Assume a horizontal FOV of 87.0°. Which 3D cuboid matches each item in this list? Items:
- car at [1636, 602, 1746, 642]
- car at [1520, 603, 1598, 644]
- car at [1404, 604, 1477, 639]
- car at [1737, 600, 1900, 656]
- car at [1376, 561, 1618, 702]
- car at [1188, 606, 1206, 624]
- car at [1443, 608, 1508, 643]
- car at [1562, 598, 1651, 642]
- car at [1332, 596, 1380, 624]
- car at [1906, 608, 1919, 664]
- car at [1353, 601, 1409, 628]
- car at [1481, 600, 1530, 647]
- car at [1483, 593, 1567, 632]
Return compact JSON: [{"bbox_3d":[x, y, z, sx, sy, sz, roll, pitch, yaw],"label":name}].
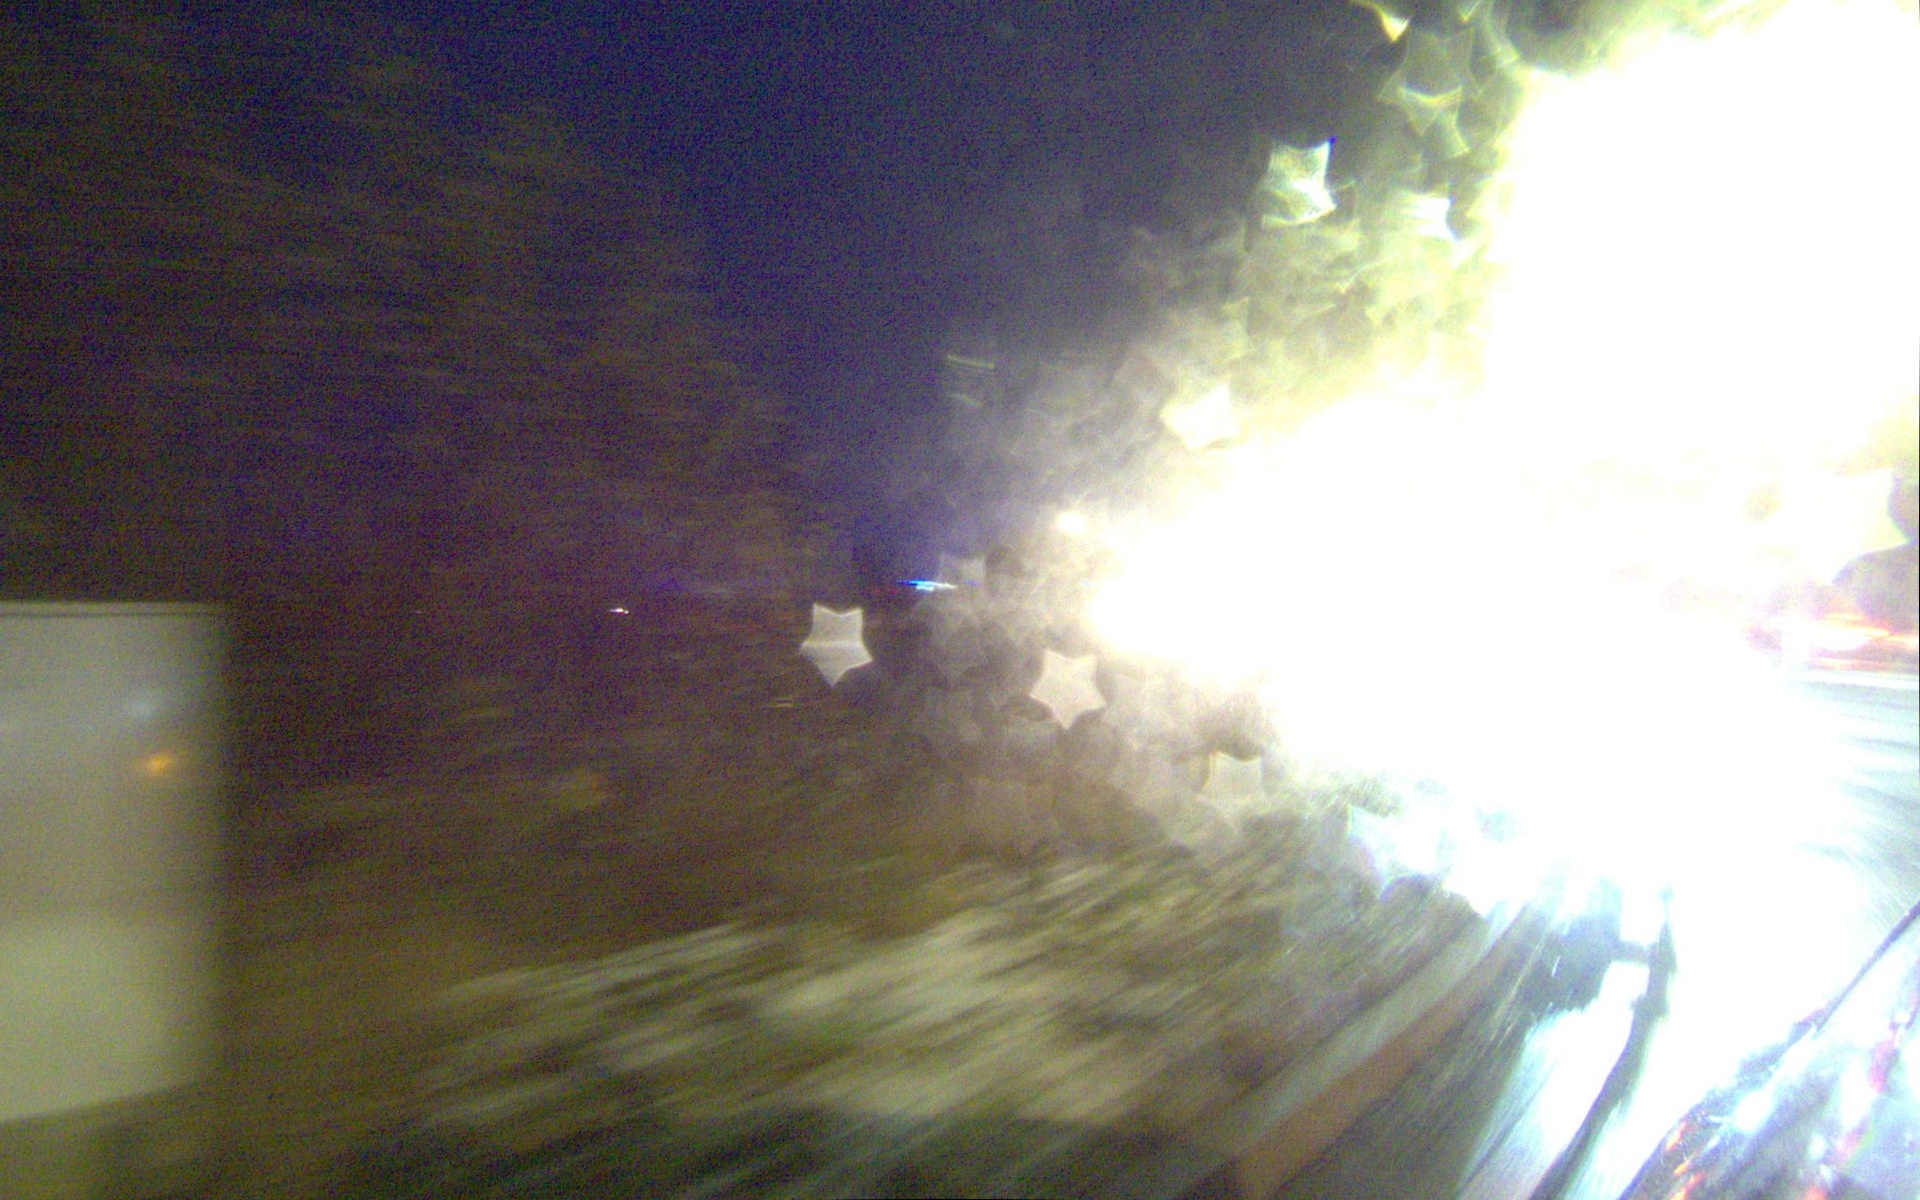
[{"bbox_3d":[29.154,0.849,40.514,1.734,1.394,4.035,1,1,5],"label":"car"},{"bbox_3d":[31.483,1.264,53.340,1.772,1.823,4.240,1,-5,5],"label":"car"},{"bbox_3d":[23.665,1.026,49.980,1.786,1.598,4.300,1,0,4],"label":"car"},{"bbox_3d":[28.735,0.880,34.109,1.825,1.558,4.527,3,1,5],"label":"car"},{"bbox_3d":[8.569,0.499,16.667,1.970,1.950,4.360,-2,-1,7],"label":"car"},{"bbox_3d":[26.711,1.726,114.292,1.640,1.877,4.137,0,1,8],"label":"car"},{"bbox_3d":[27.808,1.347,54.725,1.772,1.686,3.971,1,1,5],"label":"car"},{"bbox_3d":[29.914,0.883,46.986,1.734,1.871,4.119,1,1,5],"label":"car"},{"bbox_3d":[24.857,0.625,63.644,1.734,1.747,3.895,0,-1,5],"label":"car"},{"bbox_3d":[28.208,1.023,27.458,1.472,1.622,4.138,0,-1,6],"label":"car"},{"bbox_3d":[23.984,0.818,57.757,1.752,1.503,4.403,0,-1,6],"label":"car"},{"bbox_3d":[34.528,1.425,63.995,2.240,2.744,5.543,1,1,33],"label":"car"},{"bbox_3d":[26.597,0.554,47.842,1.772,1.686,4.482,1,1,5],"label":"car"}]
